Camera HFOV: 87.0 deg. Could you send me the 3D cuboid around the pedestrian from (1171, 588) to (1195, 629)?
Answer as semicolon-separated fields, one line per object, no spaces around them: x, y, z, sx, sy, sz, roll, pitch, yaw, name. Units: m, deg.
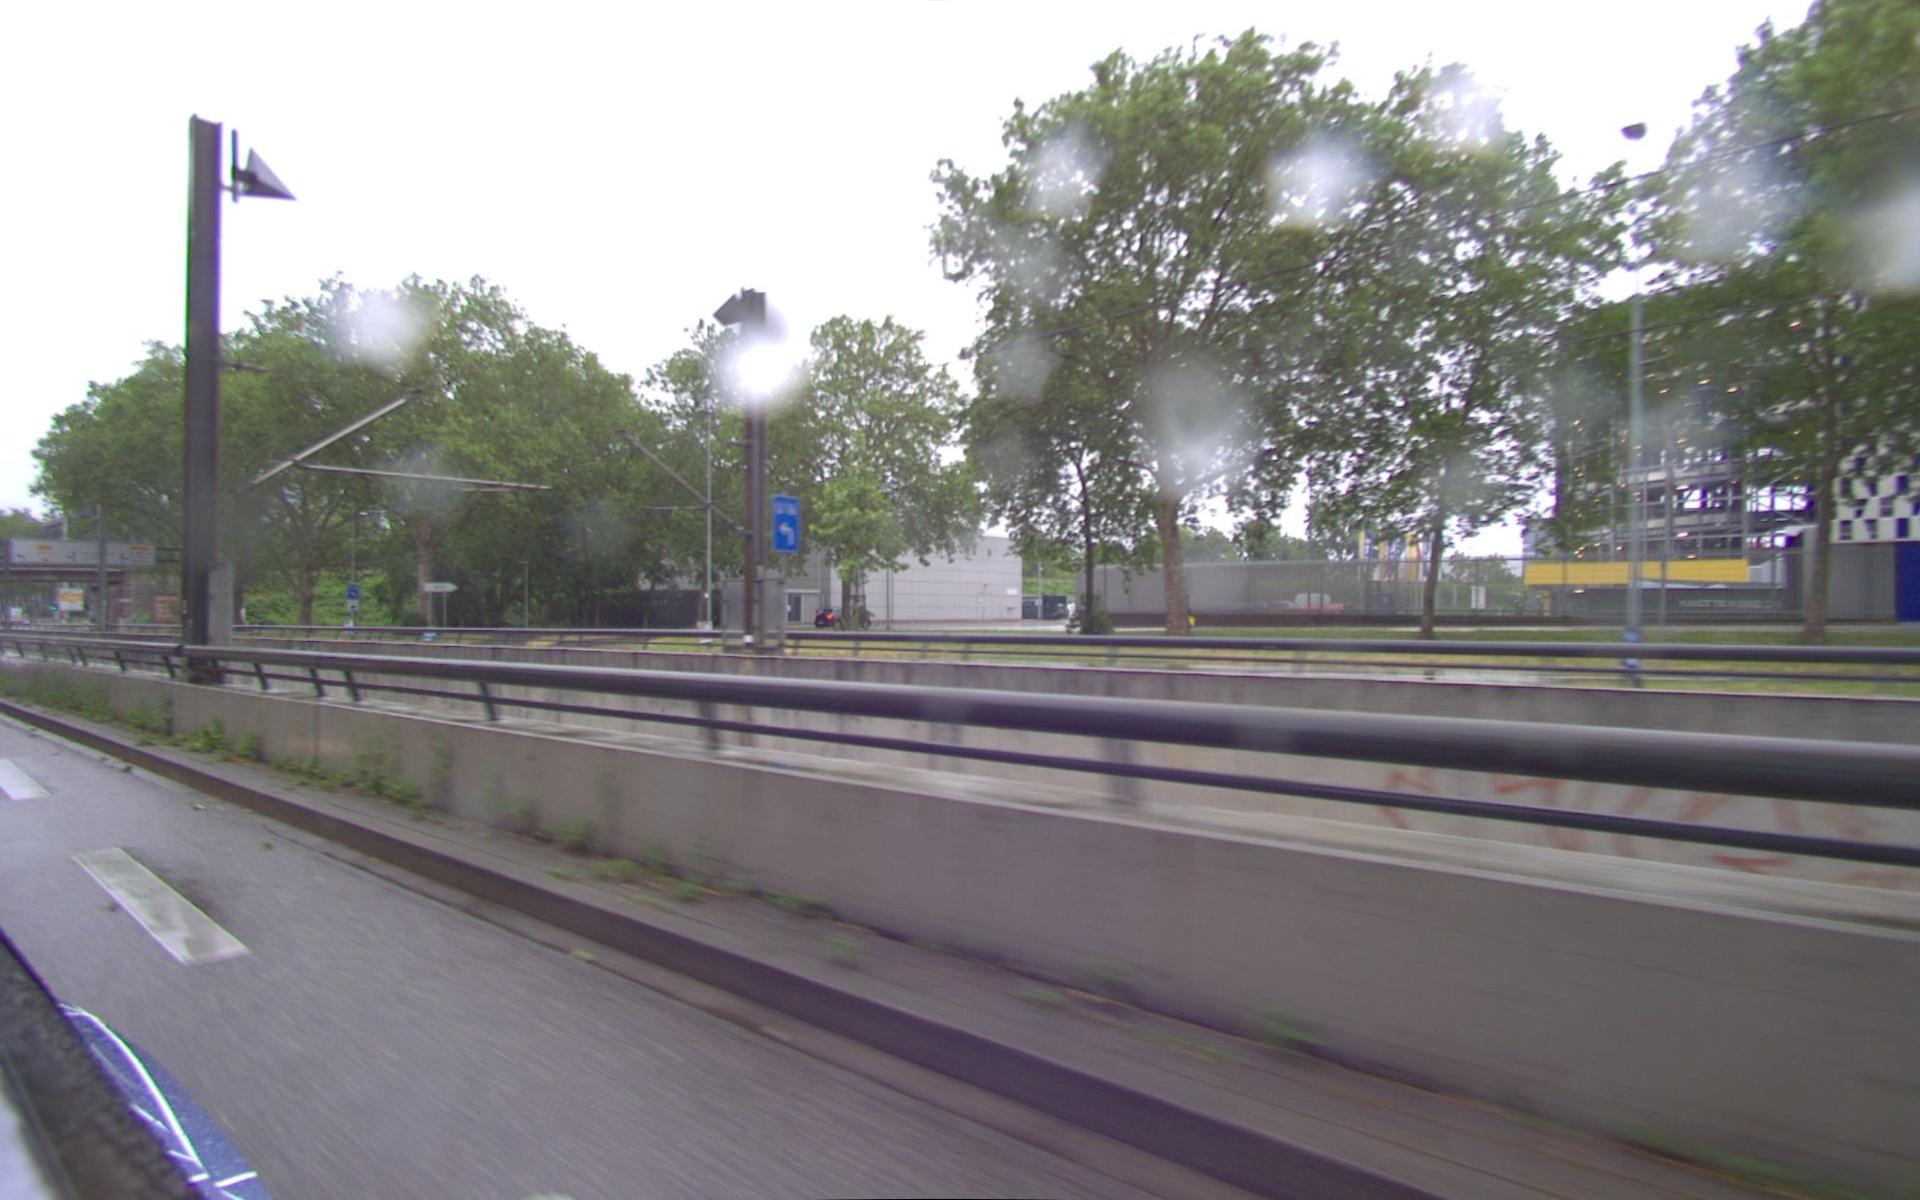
11.384;0.442;51.652;0.790;2.029;0.991;-1;1;41;pedestrian
